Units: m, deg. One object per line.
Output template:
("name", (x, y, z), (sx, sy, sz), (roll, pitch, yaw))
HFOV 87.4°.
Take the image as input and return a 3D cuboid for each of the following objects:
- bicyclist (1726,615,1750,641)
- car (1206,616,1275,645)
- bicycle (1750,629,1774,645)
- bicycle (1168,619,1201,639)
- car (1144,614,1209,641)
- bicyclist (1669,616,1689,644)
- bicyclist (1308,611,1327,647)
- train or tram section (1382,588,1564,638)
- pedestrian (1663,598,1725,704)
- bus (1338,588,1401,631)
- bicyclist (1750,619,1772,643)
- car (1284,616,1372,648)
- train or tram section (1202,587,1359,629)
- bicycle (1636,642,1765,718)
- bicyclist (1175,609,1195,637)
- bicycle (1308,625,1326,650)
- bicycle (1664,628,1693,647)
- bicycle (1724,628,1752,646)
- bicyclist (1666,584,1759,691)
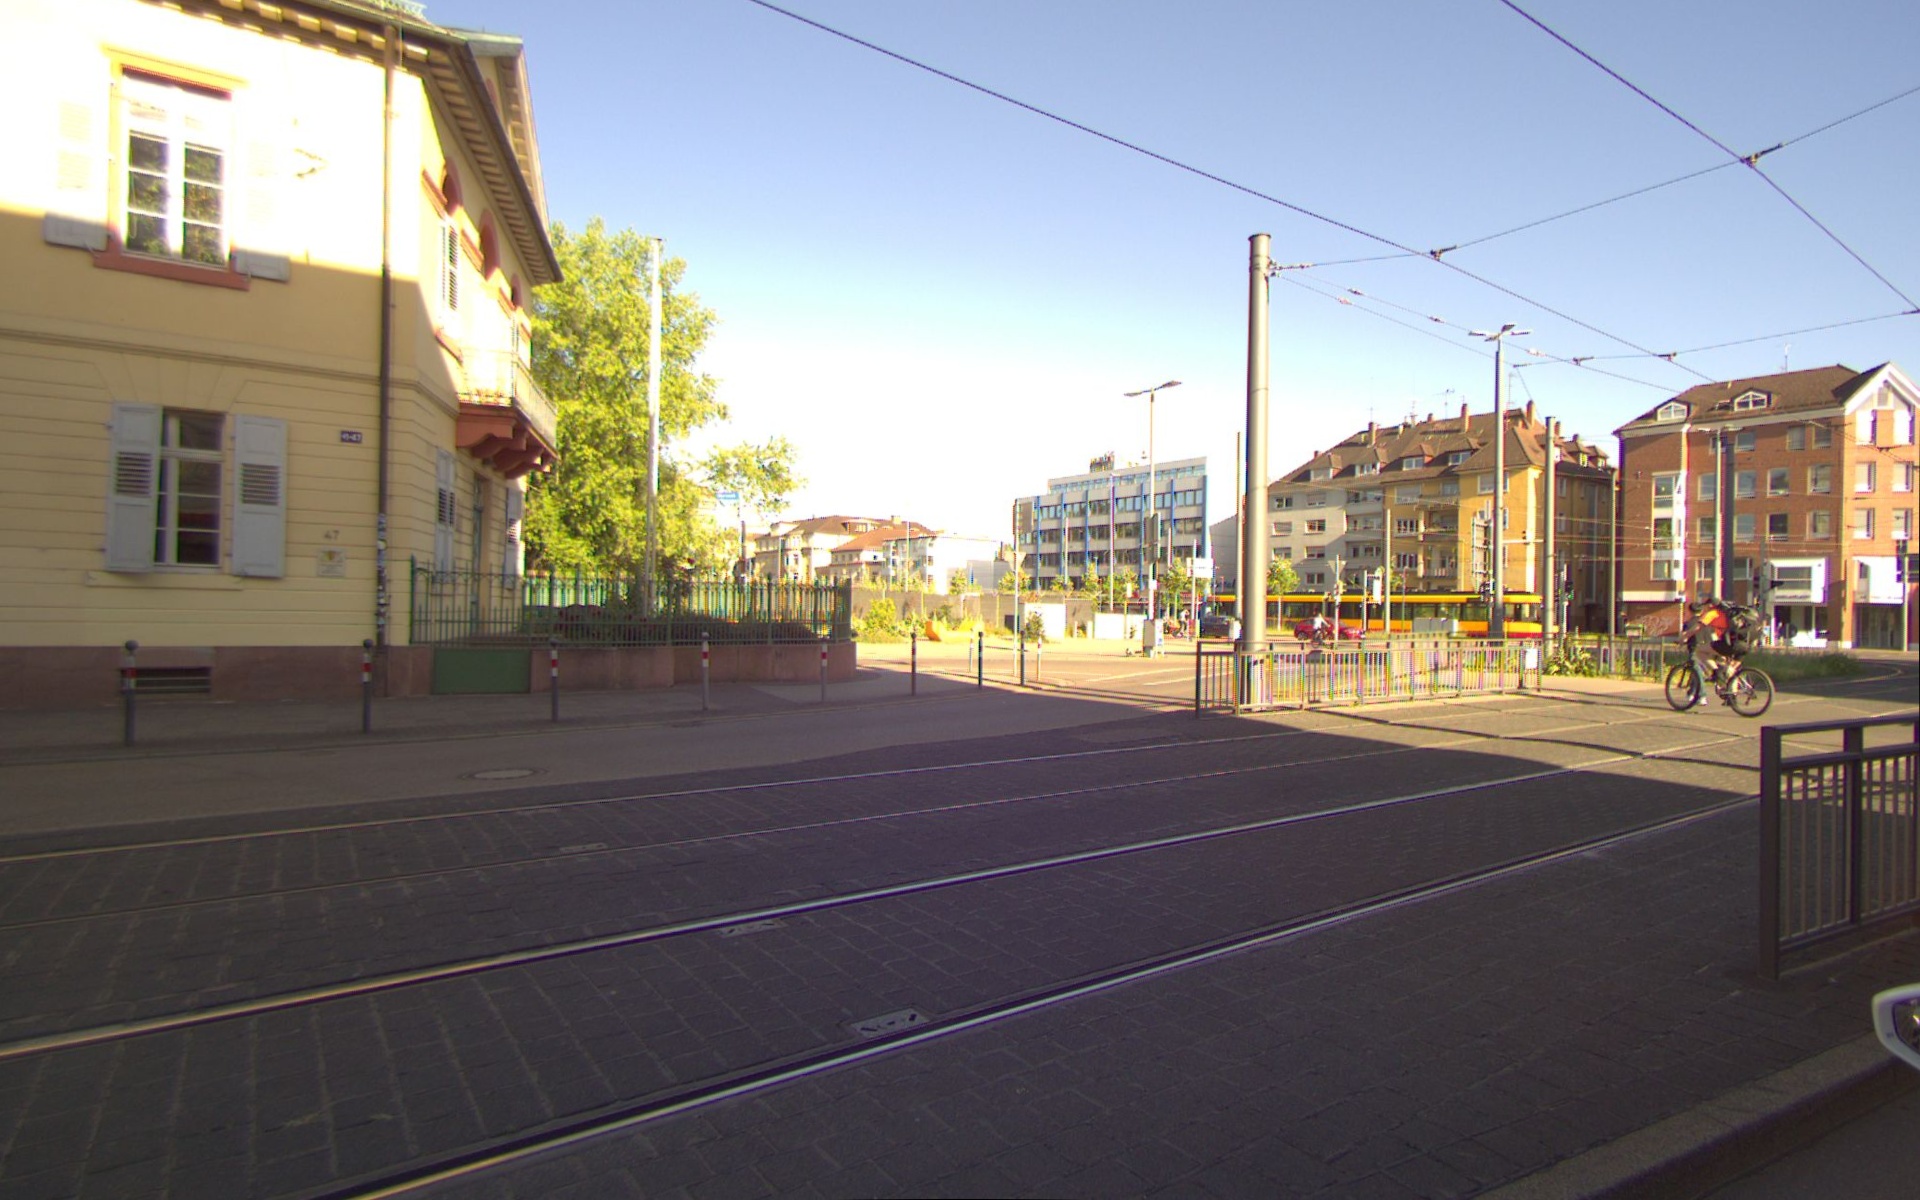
("bicyclist", (45.551, 1.640, 58.807), (0.688, 1.523, 0.894), (2, 0, -30))
("car", (18.015, 1.937, 64.588), (1.762, 1.694, 3.955), (2, 0, -39))
("bicycle", (50.380, 2.335, 63.126), (1.669, 0.994, 0.403), (2, 0, -22))
("bicycle", (14.689, 1.910, 65.673), (0.542, 1.230, 2.168), (2, 0, -41))
("car", (14.755, 1.866, 68.579), (1.895, 1.708, 3.916), (2, 0, -41))
("bicyclist", (39.671, 1.642, 55.411), (0.688, 1.523, 0.630), (2, 0, -30))
("bicyclist", (18.146, 1.456, 51.010), (0.743, 1.783, 0.753), (2, 0, 9))
("train or tram section", (35.745, 0.815, 70.553), (2.783, 3.172, 11.132), (2, 0, -41))
("pedestrian", (12.177, 0.838, 16.666), (0.766, 1.703, 0.586), (2, 0, -35))
("bus", (31.064, 0.702, 76.261), (2.747, 3.172, 3.489), (2, 0, -38))
("bicyclist", (50.389, 1.976, 63.157), (0.958, 1.490, 0.702), (1, 0, -22))
("car", (21.881, 1.880, 59.907), (1.984, 1.723, 4.545), (2, 0, -41))
("train or tram section", (26.194, 0.591, 83.242), (2.707, 3.172, 13.581), (2, 0, -35))
("bicycle", (11.110, 1.178, 15.122), (0.397, 1.007, 1.595), (2, 0, -20))
("bicyclist", (14.704, 1.504, 65.652), (0.785, 1.832, 0.892), (2, 0, -42))
("bicycle", (18.097, 1.888, 50.899), (0.475, 1.238, 1.856), (2, 0, 8))
("bicycle", (39.660, 2.058, 55.423), (2.220, 0.984, 0.444), (2, 0, -31))
("bicycle", (45.571, 2.165, 58.822), (2.220, 0.984, 0.521), (2, 0, -31))
("bicyclist", (11.195, 0.542, 14.961), (0.386, 1.542, 1.039), (2, 0, -20))
